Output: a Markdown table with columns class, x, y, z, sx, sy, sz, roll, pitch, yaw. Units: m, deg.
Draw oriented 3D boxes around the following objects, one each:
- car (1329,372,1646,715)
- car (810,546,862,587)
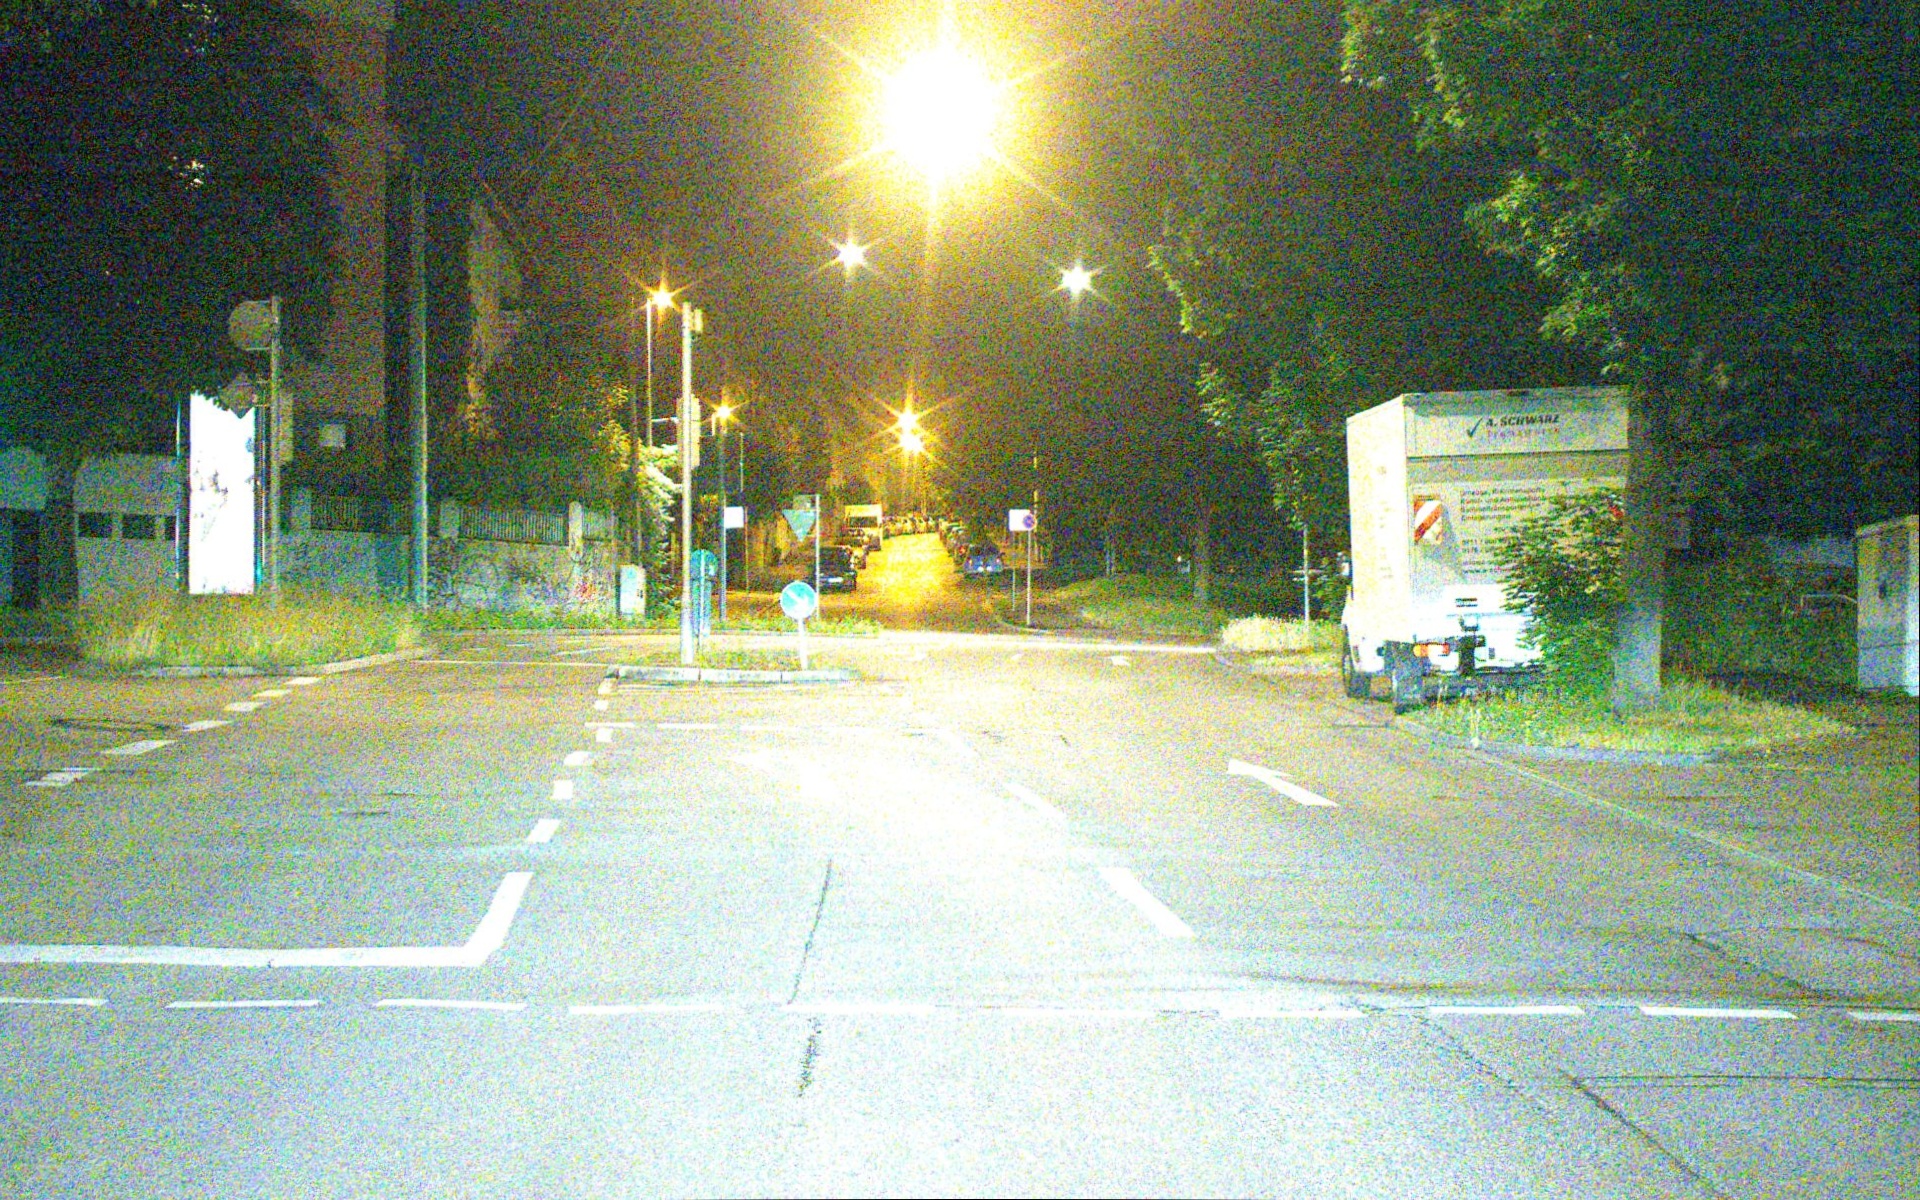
| class | x | y | z | sx | sy | sz | roll | pitch | yaw |
| --- | --- | --- | --- | --- | --- | --- | --- | --- | --- |
| car | 5.121 | -0.548 | 34.259 | 2.297 | 3.082 | 5.840 | -1 | 1 | 1 |
| car | -4.841 | -1.291 | 134.352 | 1.908 | 1.552 | 3.904 | 1 | 1 | -1 |
